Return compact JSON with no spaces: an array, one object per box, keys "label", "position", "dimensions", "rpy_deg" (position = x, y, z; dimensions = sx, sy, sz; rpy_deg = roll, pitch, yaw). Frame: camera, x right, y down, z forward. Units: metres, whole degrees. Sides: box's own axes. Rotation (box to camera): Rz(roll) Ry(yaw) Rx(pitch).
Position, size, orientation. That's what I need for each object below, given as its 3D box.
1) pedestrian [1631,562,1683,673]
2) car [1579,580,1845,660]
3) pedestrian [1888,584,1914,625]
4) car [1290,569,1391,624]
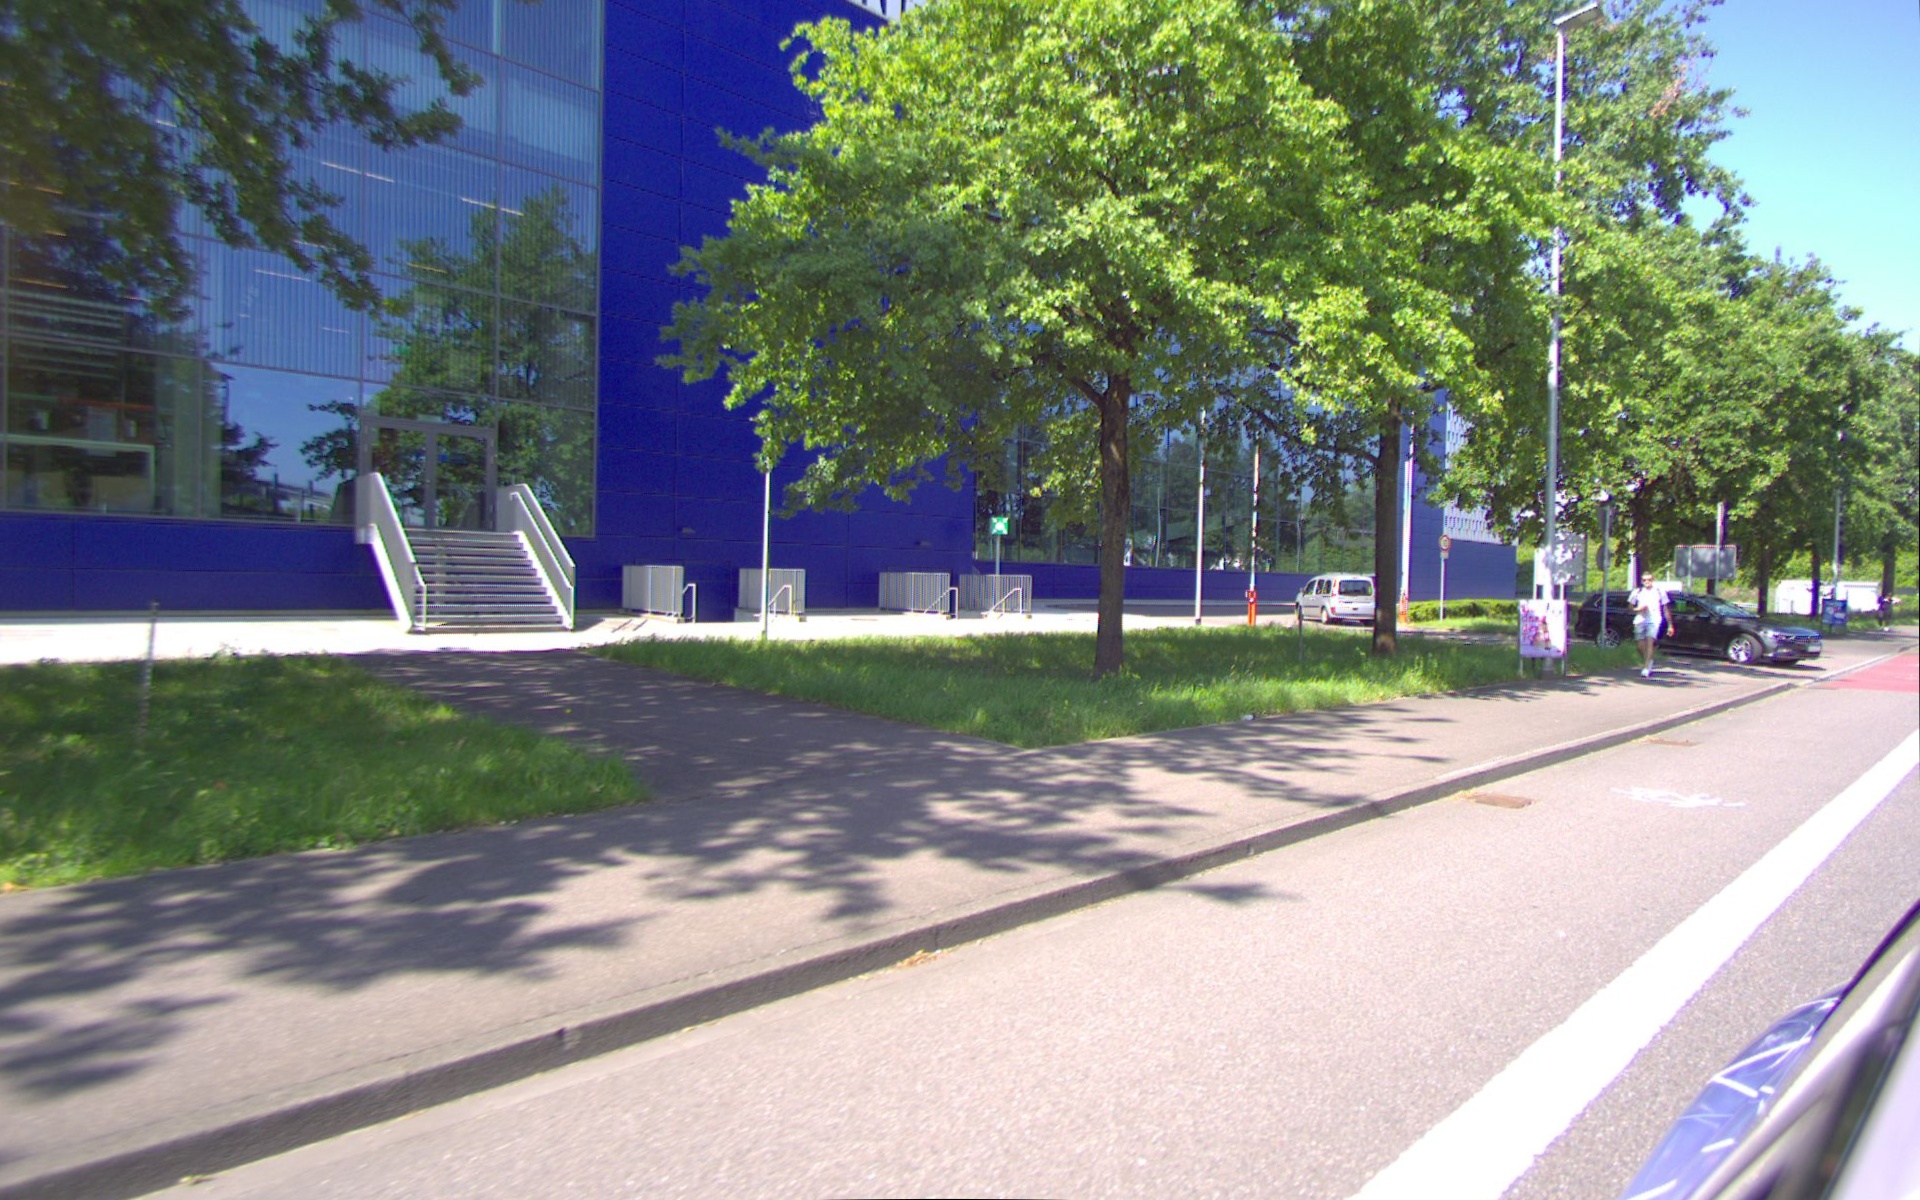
[{"label":"pedestrian","position":[11.979,0.291,17.399],"dimensions":[0.715,1.864,0.536],"rpy_deg":[0,1,-41]},{"label":"car","position":[16.584,0.374,22.608],"dimensions":[1.872,1.539,4.383],"rpy_deg":[0,1,-24]},{"label":"pedestrian","position":[38.369,0.185,41.246],"dimensions":[0.832,1.623,0.648],"rpy_deg":[0,1,-40]},{"label":"car","position":[13.691,-0.185,36.692],"dimensions":[1.874,1.851,4.183],"rpy_deg":[1,1,-3]}]
